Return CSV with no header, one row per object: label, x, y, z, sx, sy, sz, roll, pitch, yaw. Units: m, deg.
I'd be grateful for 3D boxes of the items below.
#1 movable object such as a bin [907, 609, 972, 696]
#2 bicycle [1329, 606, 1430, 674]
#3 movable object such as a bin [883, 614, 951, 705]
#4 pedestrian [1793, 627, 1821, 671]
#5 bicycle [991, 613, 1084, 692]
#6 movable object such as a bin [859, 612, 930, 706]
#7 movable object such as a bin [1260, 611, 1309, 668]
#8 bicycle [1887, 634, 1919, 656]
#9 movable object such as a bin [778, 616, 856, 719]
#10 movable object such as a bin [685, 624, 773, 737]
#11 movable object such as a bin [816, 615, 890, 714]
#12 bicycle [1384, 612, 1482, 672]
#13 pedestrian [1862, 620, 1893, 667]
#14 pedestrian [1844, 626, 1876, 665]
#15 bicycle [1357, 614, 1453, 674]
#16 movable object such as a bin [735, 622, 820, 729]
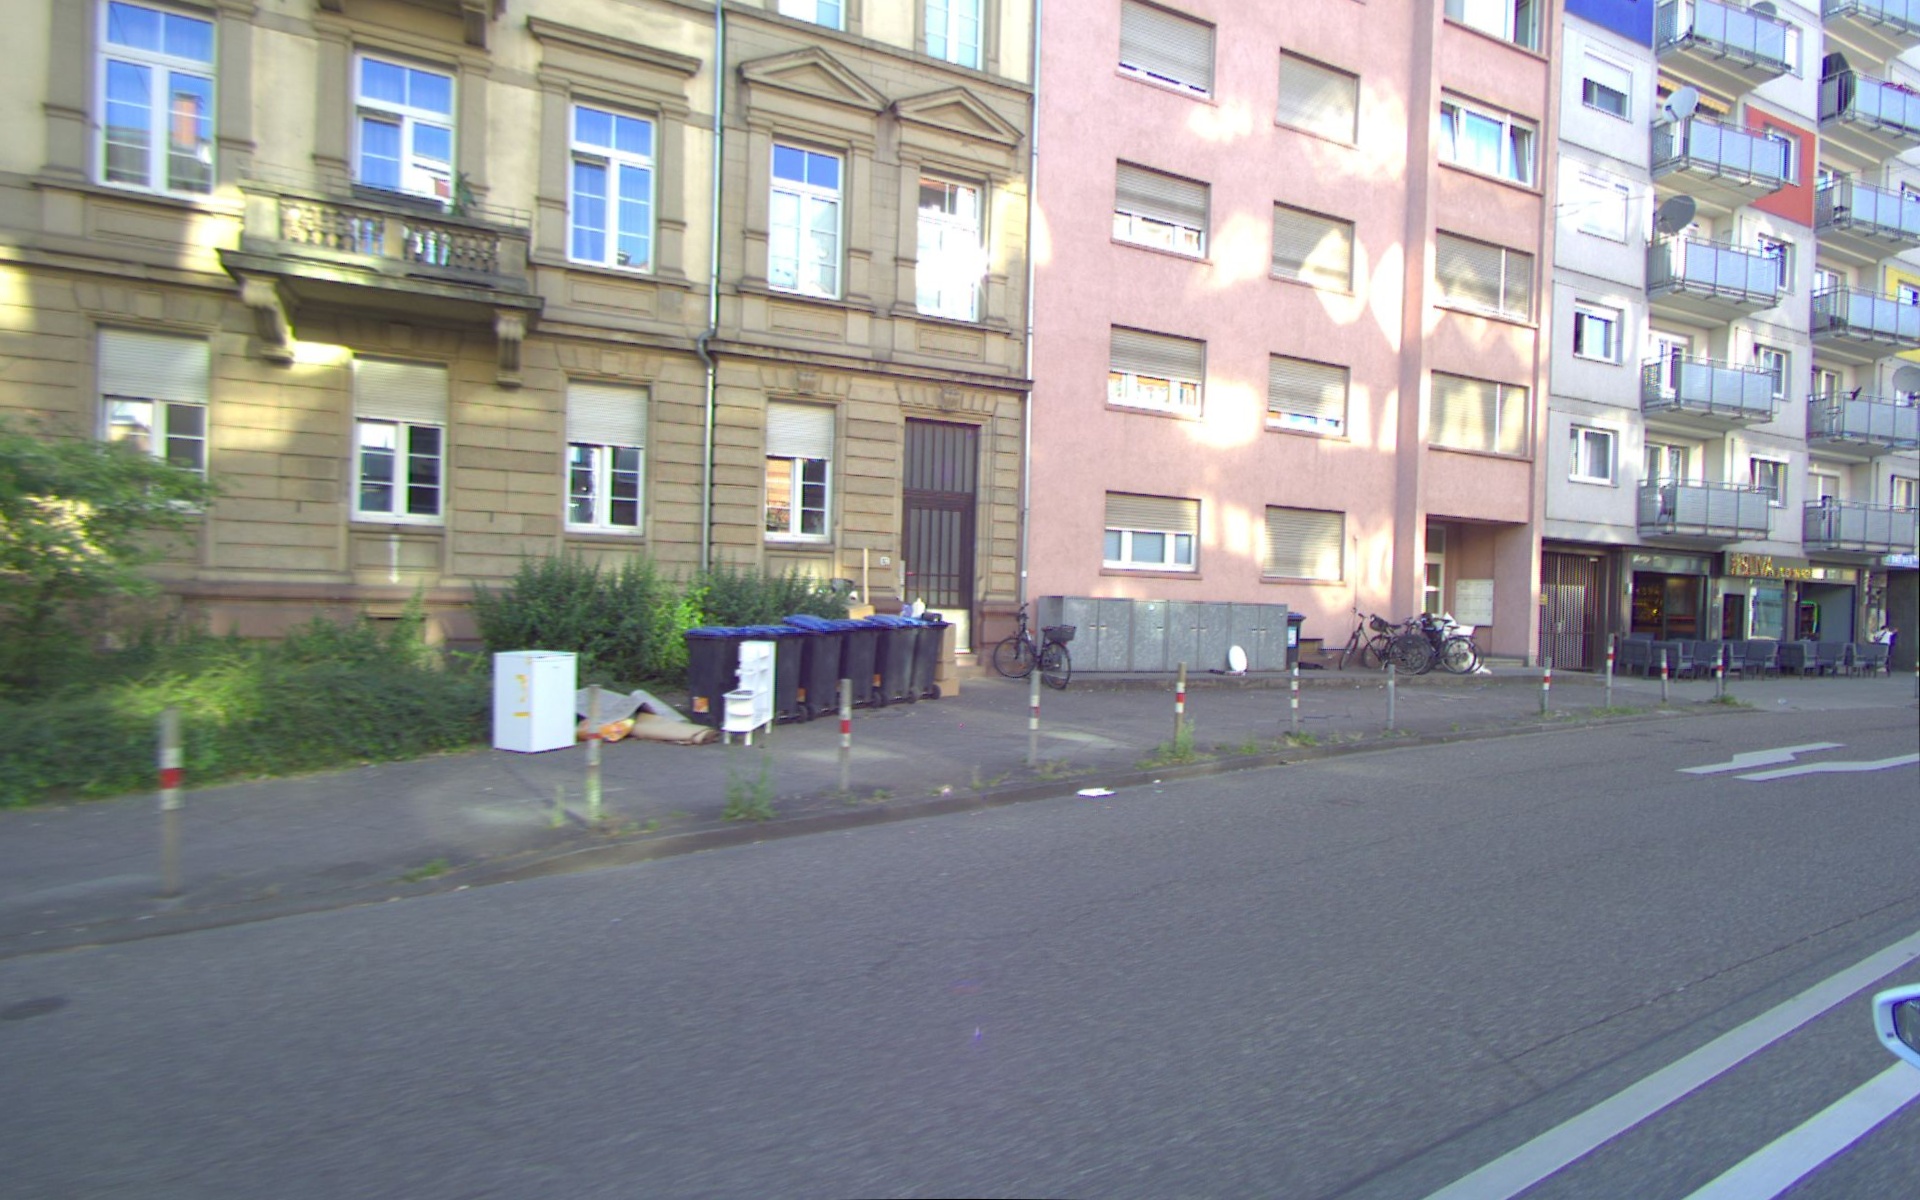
movable object such as a bin,-0.280,0.712,13.912,0.631,1.126,0.582,4,2,34
bicycle,7.952,0.736,19.079,1.649,1.176,0.494,3,1,40
movable object such as a bin,-0.564,0.770,13.309,0.631,1.126,0.582,4,2,34
pedestrian,24.451,1.409,29.003,0.514,1.219,0.551,1,0,33
bicycle,1.191,0.803,15.801,0.653,0.980,1.642,1,6,-26
movable object such as a bin,-0.829,0.733,12.761,0.631,1.126,0.582,4,2,34
movable object such as a bin,6.163,0.741,19.086,0.581,1.045,0.673,1,0,-25
bicycle,40.711,1.928,43.326,1.681,0.919,0.494,1,0,-26
movable object such as a bin,-1.674,0.774,11.764,0.631,1.126,0.582,4,2,34
movable object such as a bin,-2.437,0.828,10.602,0.631,1.098,0.582,4,2,34
movable object such as a bin,-1.308,0.768,12.299,0.631,1.126,0.582,4,2,34
bicycle,9.345,0.818,19.907,0.545,1.054,1.656,1,1,-39
pedestrian,28.330,1.342,31.030,0.472,1.402,0.484,1,1,-5
pedestrian,29.135,1.470,32.515,0.521,1.256,0.557,1,0,-11
bicycle,8.623,0.835,19.516,0.543,1.054,1.660,2,1,-31
movable object such as a bin,-2.019,0.813,11.121,0.631,1.082,0.625,4,2,34
